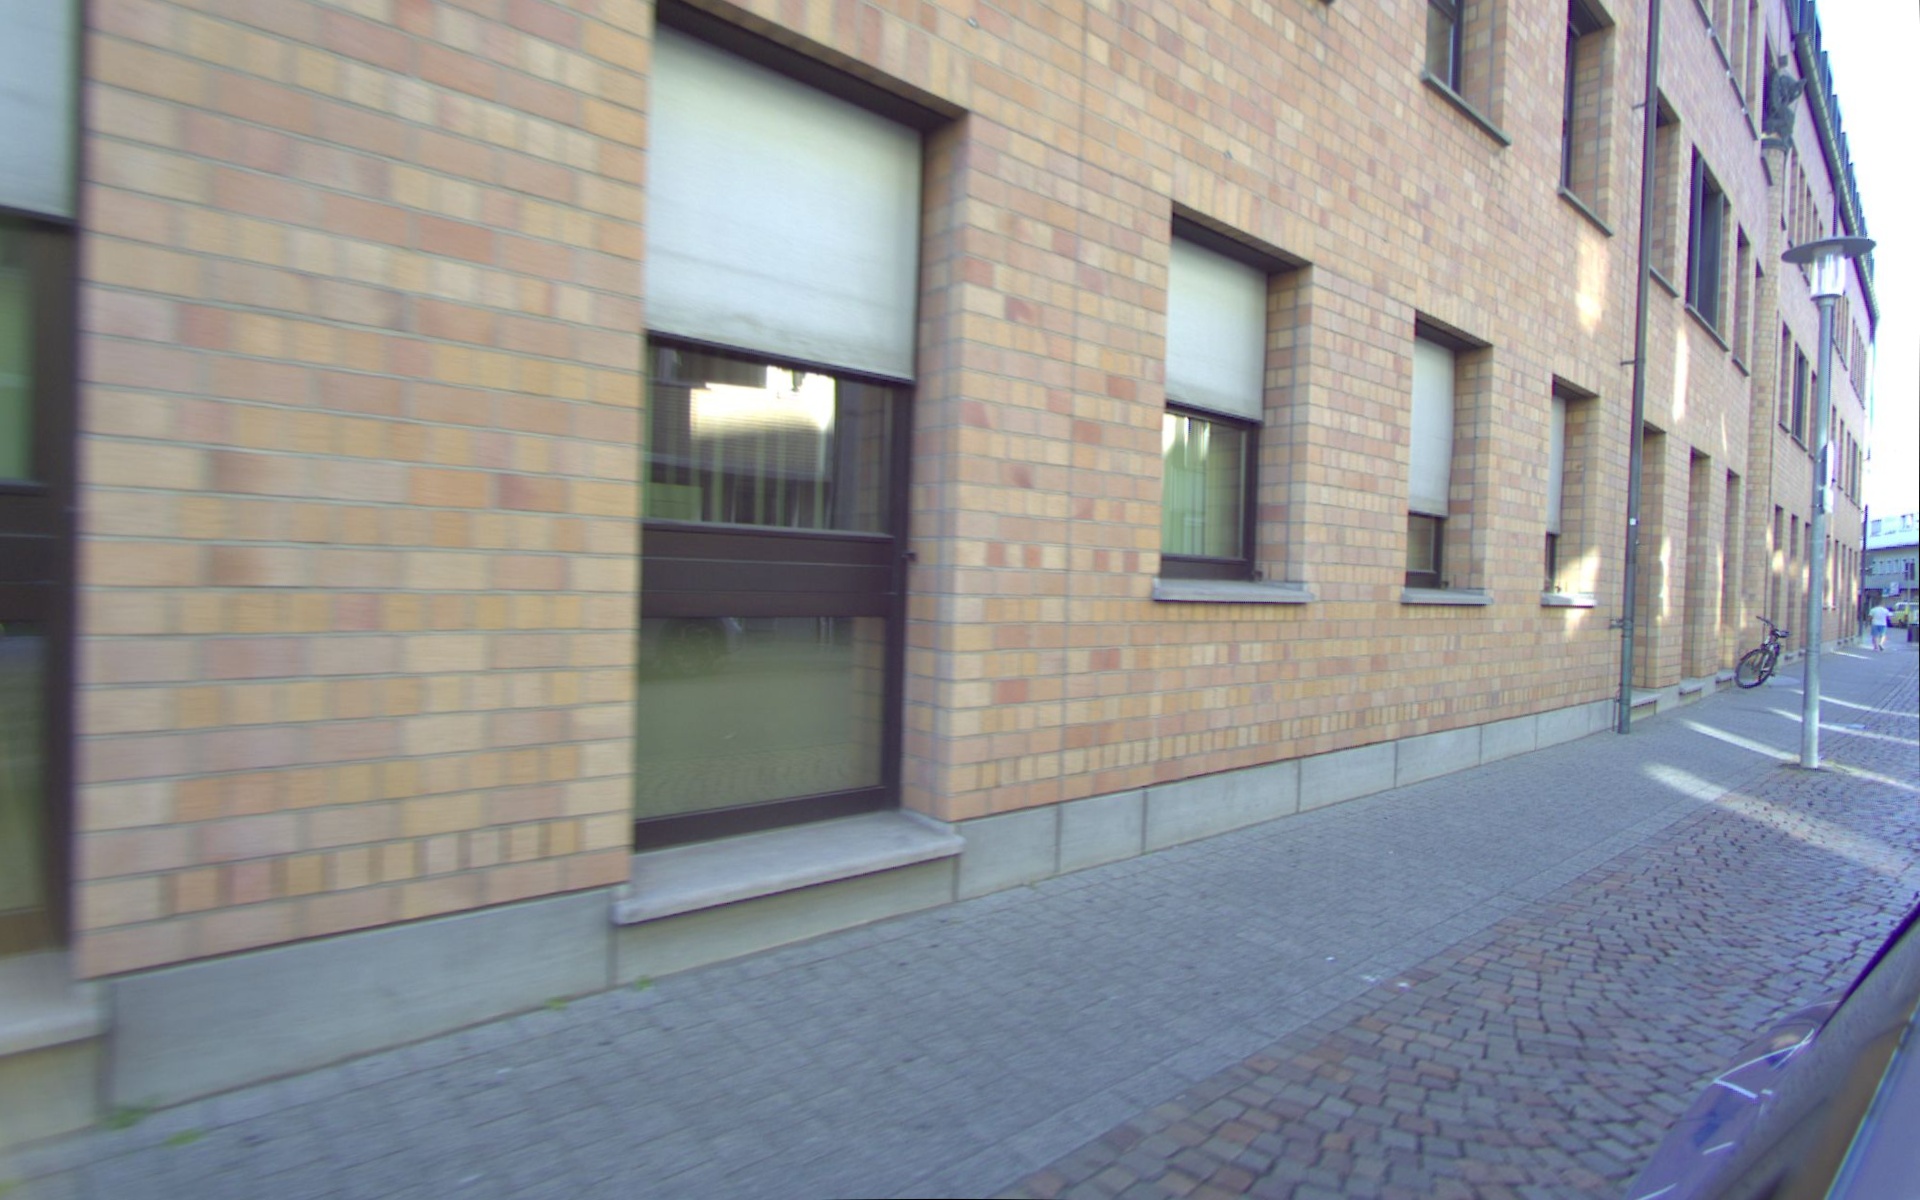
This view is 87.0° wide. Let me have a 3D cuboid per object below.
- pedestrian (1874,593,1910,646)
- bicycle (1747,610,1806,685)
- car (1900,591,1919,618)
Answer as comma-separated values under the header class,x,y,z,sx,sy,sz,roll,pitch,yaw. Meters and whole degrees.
class,x,y,z,sx,sy,sz,roll,pitch,yaw
pedestrian,31.809,0.645,34.542,0.808,1.737,0.761,1,3,-45
bicycle,13.590,0.754,16.829,0.550,1.116,1.951,7,4,42
car,70.091,0.388,73.450,1.875,1.896,3.956,5,3,31
